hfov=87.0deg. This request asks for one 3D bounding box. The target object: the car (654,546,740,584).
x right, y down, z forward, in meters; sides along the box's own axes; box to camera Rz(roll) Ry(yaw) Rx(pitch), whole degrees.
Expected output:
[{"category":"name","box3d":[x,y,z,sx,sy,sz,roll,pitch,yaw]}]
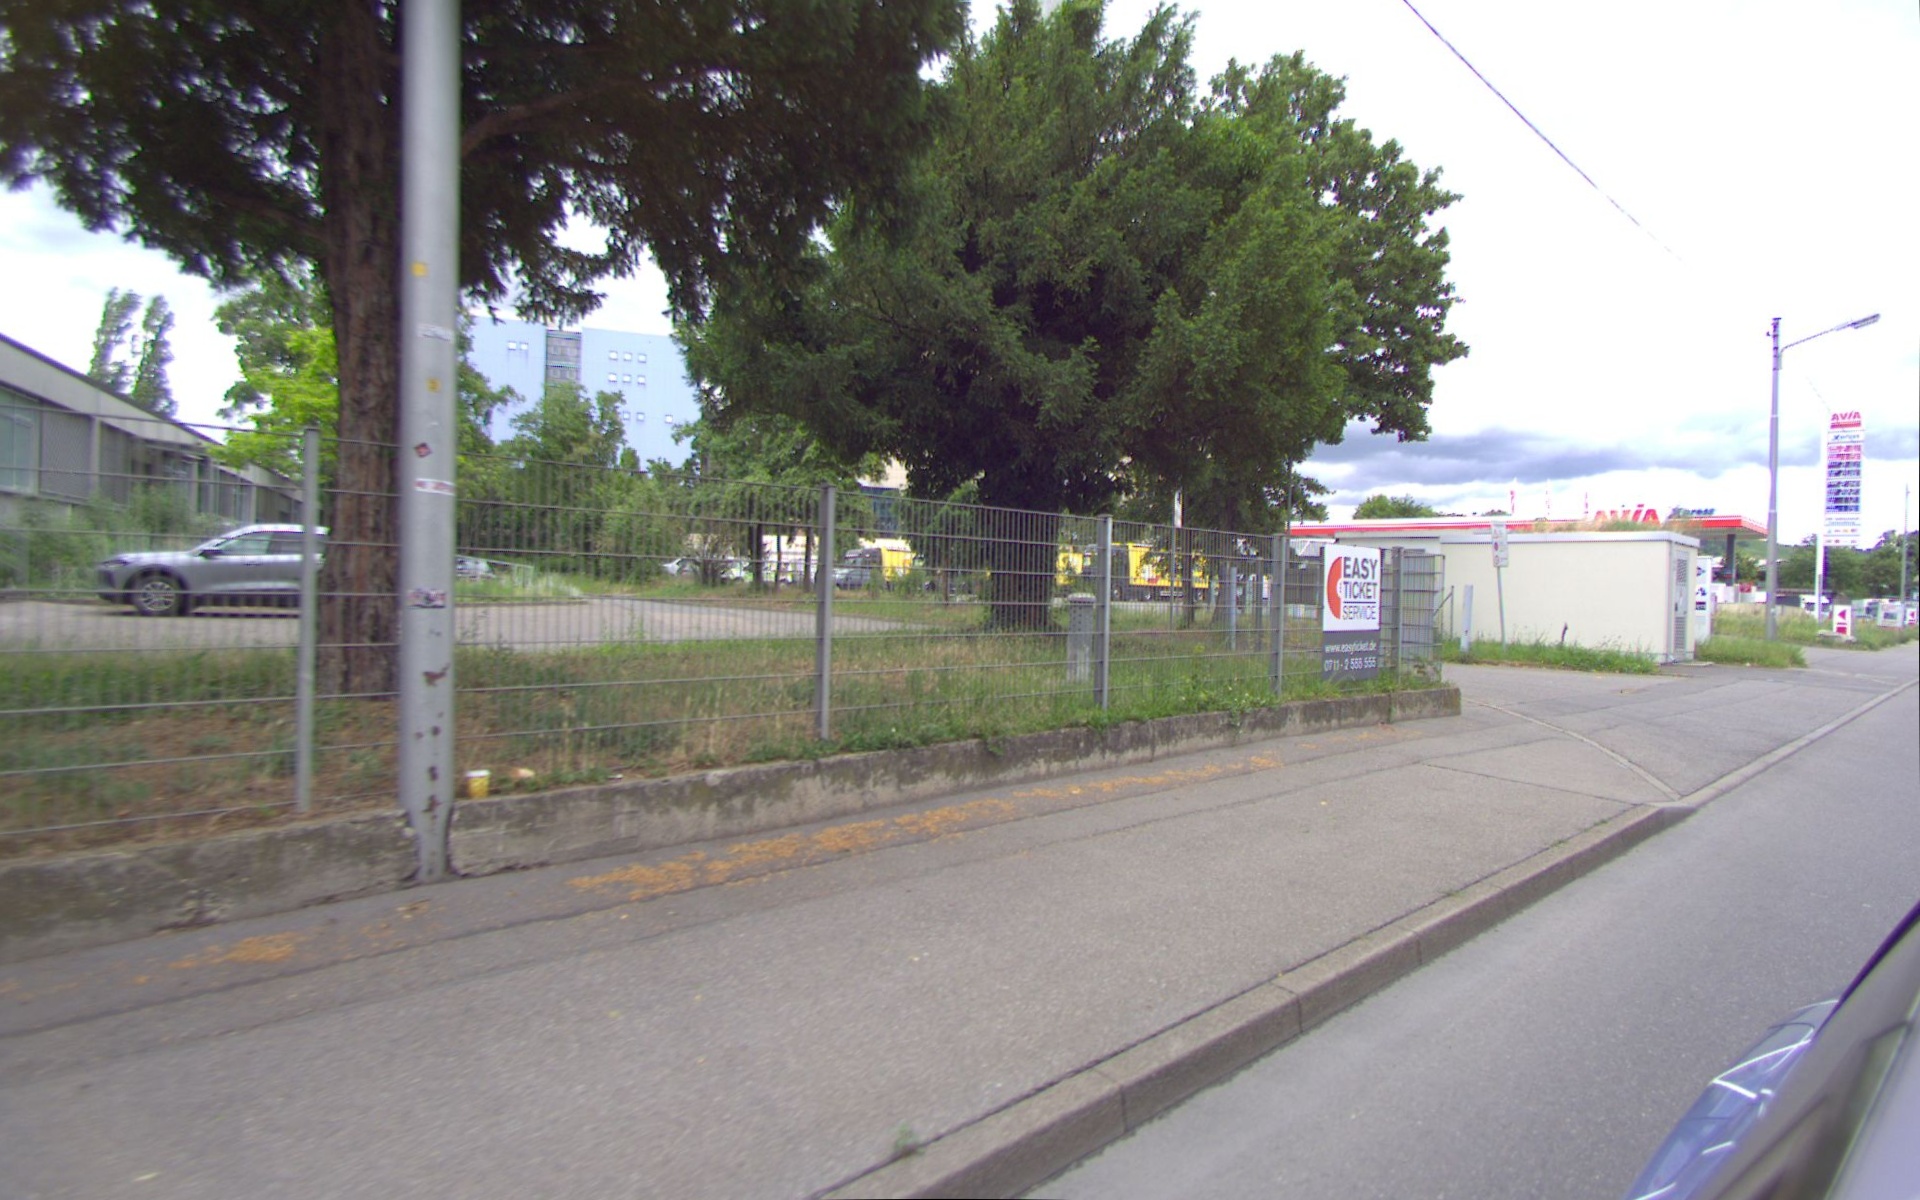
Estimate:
[{"category":"car","box3d":[-15.934,-2.118,61.379,4.799,2.129,2.106,2,1,-21]}]

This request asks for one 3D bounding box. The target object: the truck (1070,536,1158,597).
[{"category":"truck","box3d":[10.815,-2.302,70.848,5.940,3.963,2.960,1,1,-44]}]

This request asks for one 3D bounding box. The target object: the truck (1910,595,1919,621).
[{"category":"truck","box3d":[140.887,1.205,146.410,2.806,3.758,9.009,2,1,29]}]

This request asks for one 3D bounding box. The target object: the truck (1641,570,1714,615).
[{"category":"truck","box3d":[70.851,-0.645,99.750,12.846,4.016,3.080,1,3,-43]}]

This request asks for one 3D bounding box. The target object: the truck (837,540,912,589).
[{"category":"truck","box3d":[-7.287,-3.034,86.862,5.940,3.963,2.693,1,1,-44]}]

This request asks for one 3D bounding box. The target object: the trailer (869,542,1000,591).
[{"category":"trailer","box3d":[-2.095,-2.986,91.874,13.461,3.963,2.693,1,1,-44]}]

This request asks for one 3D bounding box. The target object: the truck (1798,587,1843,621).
[{"category":"truck","box3d":[112.599,0.515,132.462,2.848,4.146,6.691,3,1,27]}]

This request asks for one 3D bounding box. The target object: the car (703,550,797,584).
[{"category":"car","box3d":[-11.200,-1.751,54.218,4.576,1.666,1.964,1,2,-44]}]

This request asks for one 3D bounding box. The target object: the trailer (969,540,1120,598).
[{"category":"trailer","box3d":[7.416,-2.447,84.679,15.463,4.313,3.023,1,1,-44]}]

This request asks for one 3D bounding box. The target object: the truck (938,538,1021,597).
[{"category":"truck","box3d":[1.553,-2.514,79.056,5.940,4.315,3.047,1,1,-44]}]

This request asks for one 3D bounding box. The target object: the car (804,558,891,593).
[{"category":"car","box3d":[-5.375,-1.152,48.433,3.817,1.549,1.735,1,2,-42]}]

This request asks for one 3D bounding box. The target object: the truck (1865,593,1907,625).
[{"category":"truck","box3d":[122.971,1.197,134.478,2.854,4.063,6.678,3,1,32]}]

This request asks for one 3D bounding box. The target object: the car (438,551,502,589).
[{"category":"car","box3d":[-22.494,-1.388,46.379,1.962,1.539,4.443,2,1,-35]}]

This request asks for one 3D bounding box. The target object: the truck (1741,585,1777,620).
[{"category":"truck","box3d":[101.559,0.347,128.682,2.855,4.146,6.675,3,1,33]}]

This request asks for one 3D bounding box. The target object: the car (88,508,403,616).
[{"category":"car","box3d":[-12.658,-0.641,18.331,4.350,1.632,2.004,2,1,-27]}]

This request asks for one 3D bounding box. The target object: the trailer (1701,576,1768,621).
[{"category":"trailer","box3d":[76.449,-0.106,99.777,10.219,4.016,2.965,1,2,-40]}]

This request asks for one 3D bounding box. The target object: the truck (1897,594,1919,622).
[{"category":"truck","box3d":[127.961,1.116,135.088,2.854,3.675,6.678,3,1,32]}]

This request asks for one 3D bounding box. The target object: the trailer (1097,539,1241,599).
[{"category":"trailer","box3d":[15.917,-2.227,75.789,14.063,3.963,3.003,1,1,-44]}]
